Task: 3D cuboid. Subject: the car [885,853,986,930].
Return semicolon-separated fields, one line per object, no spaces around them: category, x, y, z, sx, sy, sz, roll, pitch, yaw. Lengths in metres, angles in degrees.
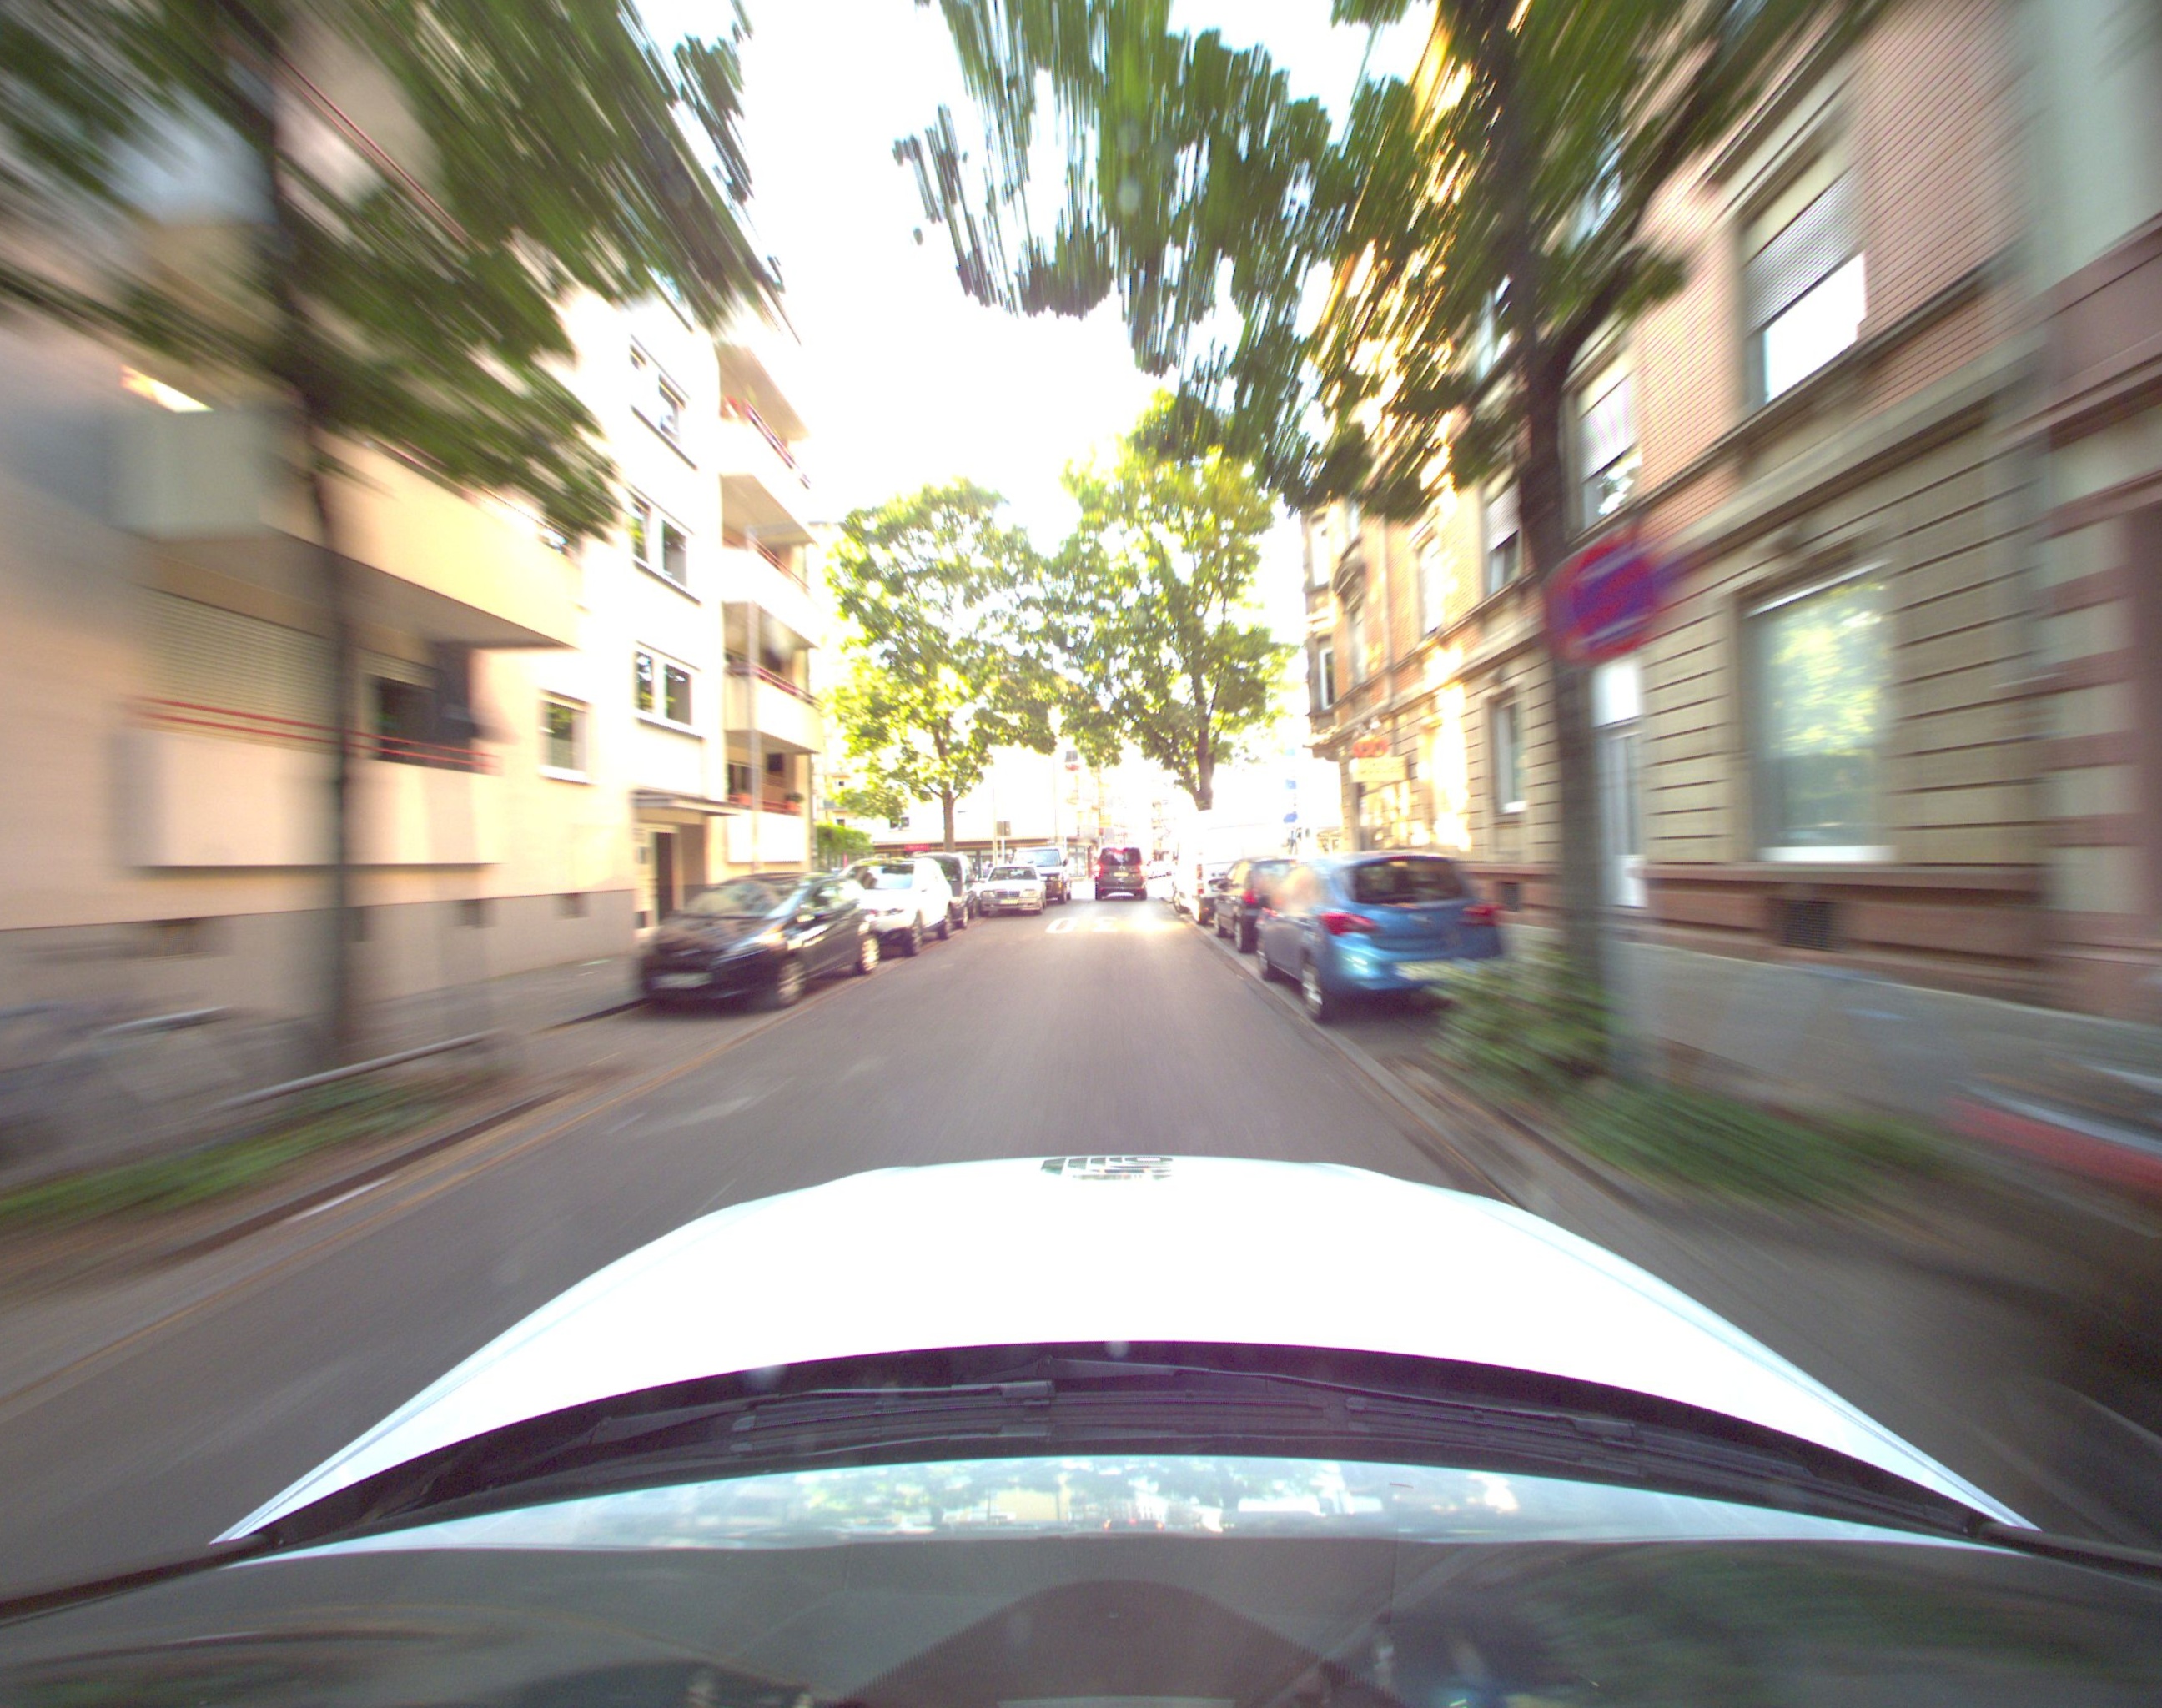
car;-3.448;0.836;19.848;1.735;1.712;3.376;0;0;2

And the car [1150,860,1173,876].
car;8.099;1.385;81.517;1.782;1.420;3.762;-2;0;14

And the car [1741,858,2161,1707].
car;2.575;0.708;0.183;1.710;1.403;3.812;-2;0;-1

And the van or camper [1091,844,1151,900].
van or camper;1.538;0.624;30.477;2.026;1.897;4.275;-1;0;4

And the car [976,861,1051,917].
car;-1.868;0.959;23.533;1.735;1.404;3.376;-2;0;2

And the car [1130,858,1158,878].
car;5.521;1.211;71.259;1.782;1.578;3.762;-2;0;14

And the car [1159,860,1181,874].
car;9.481;1.337;86.792;1.782;1.420;3.762;-2;0;14

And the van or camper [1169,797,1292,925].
van or camper;3.372;0.158;19.500;1.986;2.599;5.425;-1;0;1

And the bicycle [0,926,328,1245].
bicycle;-4.551;0.989;3.565;1.839;1.195;0.598;0;0;-43

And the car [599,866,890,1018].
car;-3.878;0.914;10.190;1.731;1.484;3.845;0;0;6

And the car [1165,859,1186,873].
car;10.640;1.347;91.663;1.782;1.420;3.762;-2;0;14

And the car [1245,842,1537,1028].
car;2.894;0.674;8.518;1.743;1.471;3.778;-2;0;3

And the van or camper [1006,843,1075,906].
van or camper;-1.343;0.673;28.628;1.854;1.983;4.275;-2;0;4

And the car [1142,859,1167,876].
car;6.946;1.262;76.840;1.782;1.420;3.762;-2;0;14

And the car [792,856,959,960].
car;-3.576;0.867;15.022;1.890;1.637;4.158;0;0;2

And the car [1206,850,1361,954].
car;3.243;0.718;13.768;1.744;1.471;3.777;-2;0;1
